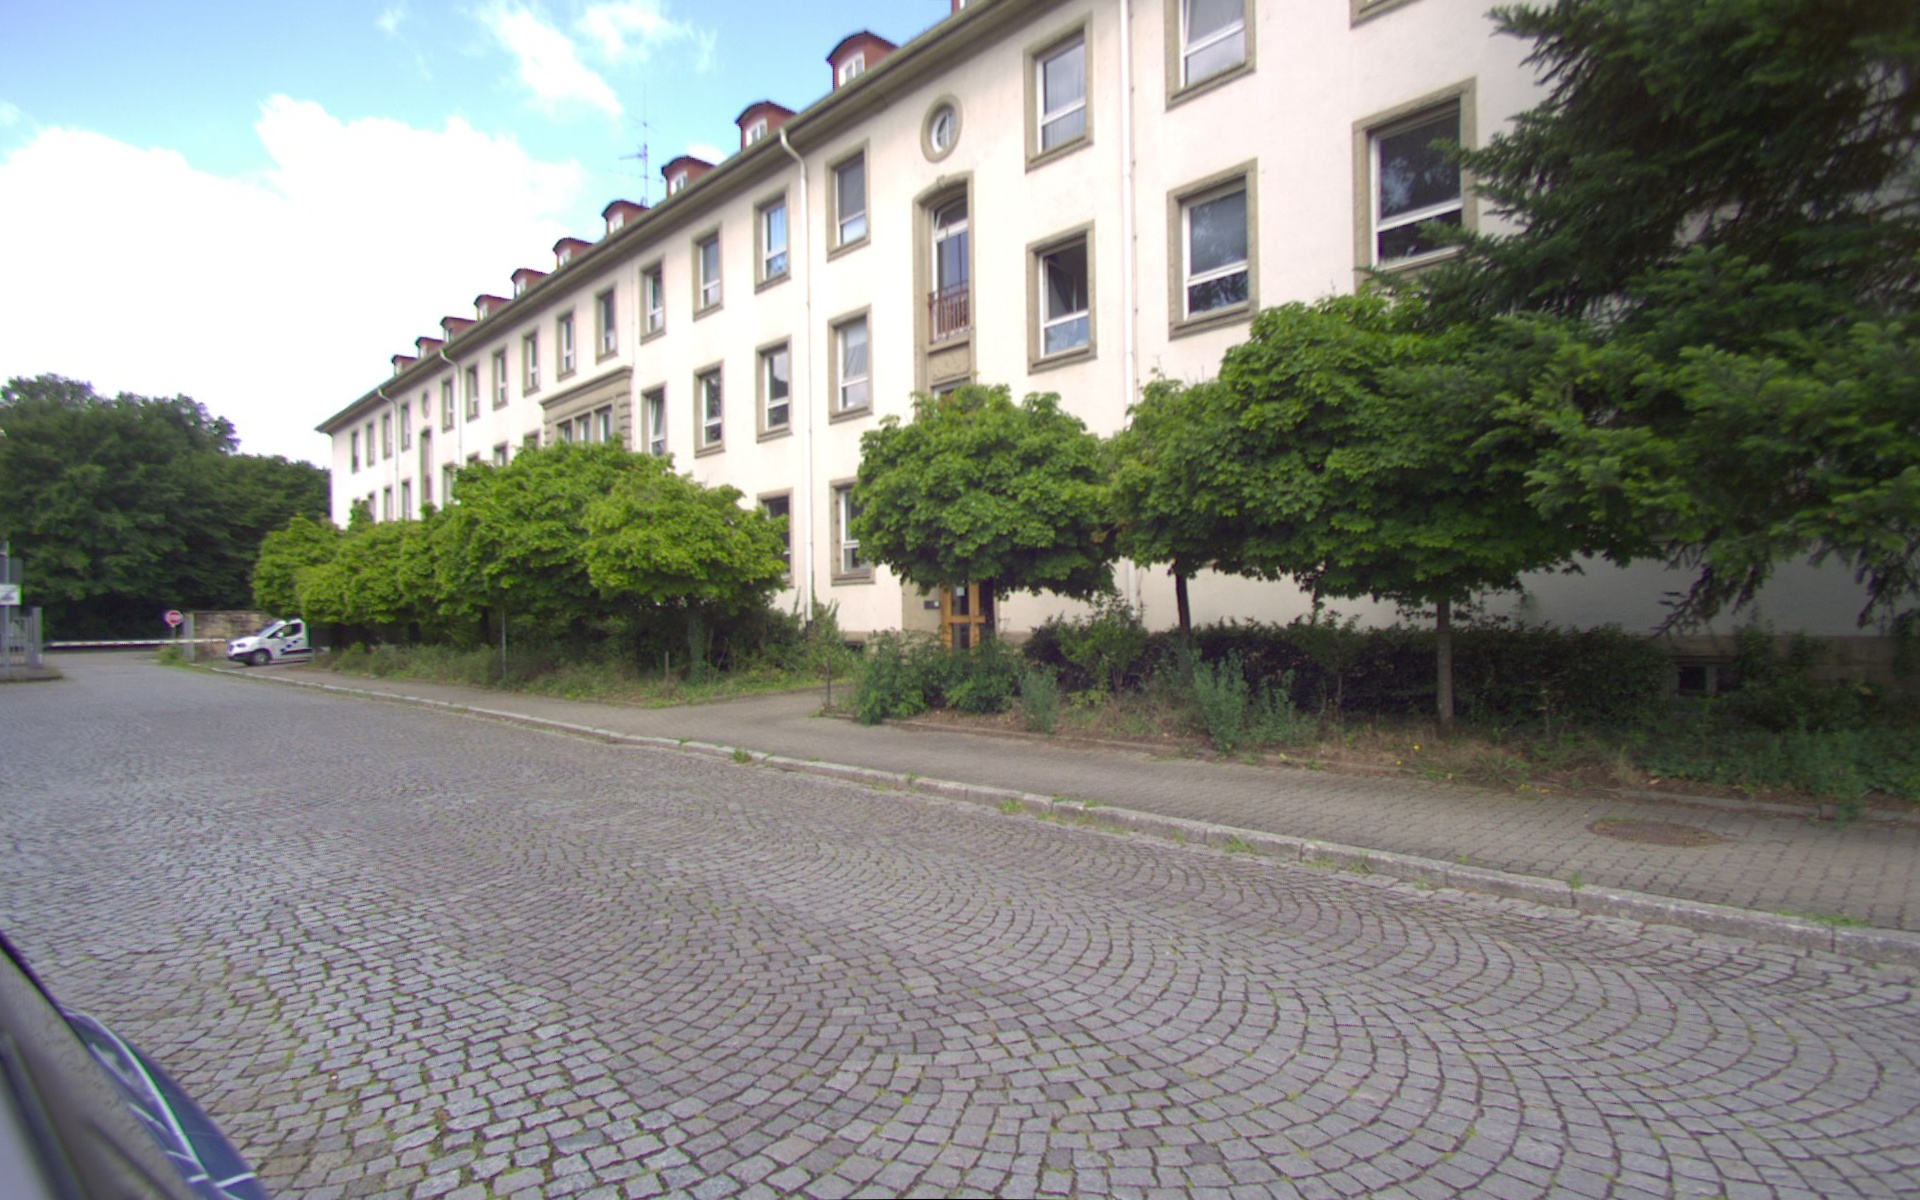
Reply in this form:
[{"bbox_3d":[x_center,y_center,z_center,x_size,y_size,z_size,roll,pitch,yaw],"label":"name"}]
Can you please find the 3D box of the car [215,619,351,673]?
[{"bbox_3d":[-27.614,1.833,41.377,1.821,1.819,4.254,-2,2,43],"label":"car"}]
